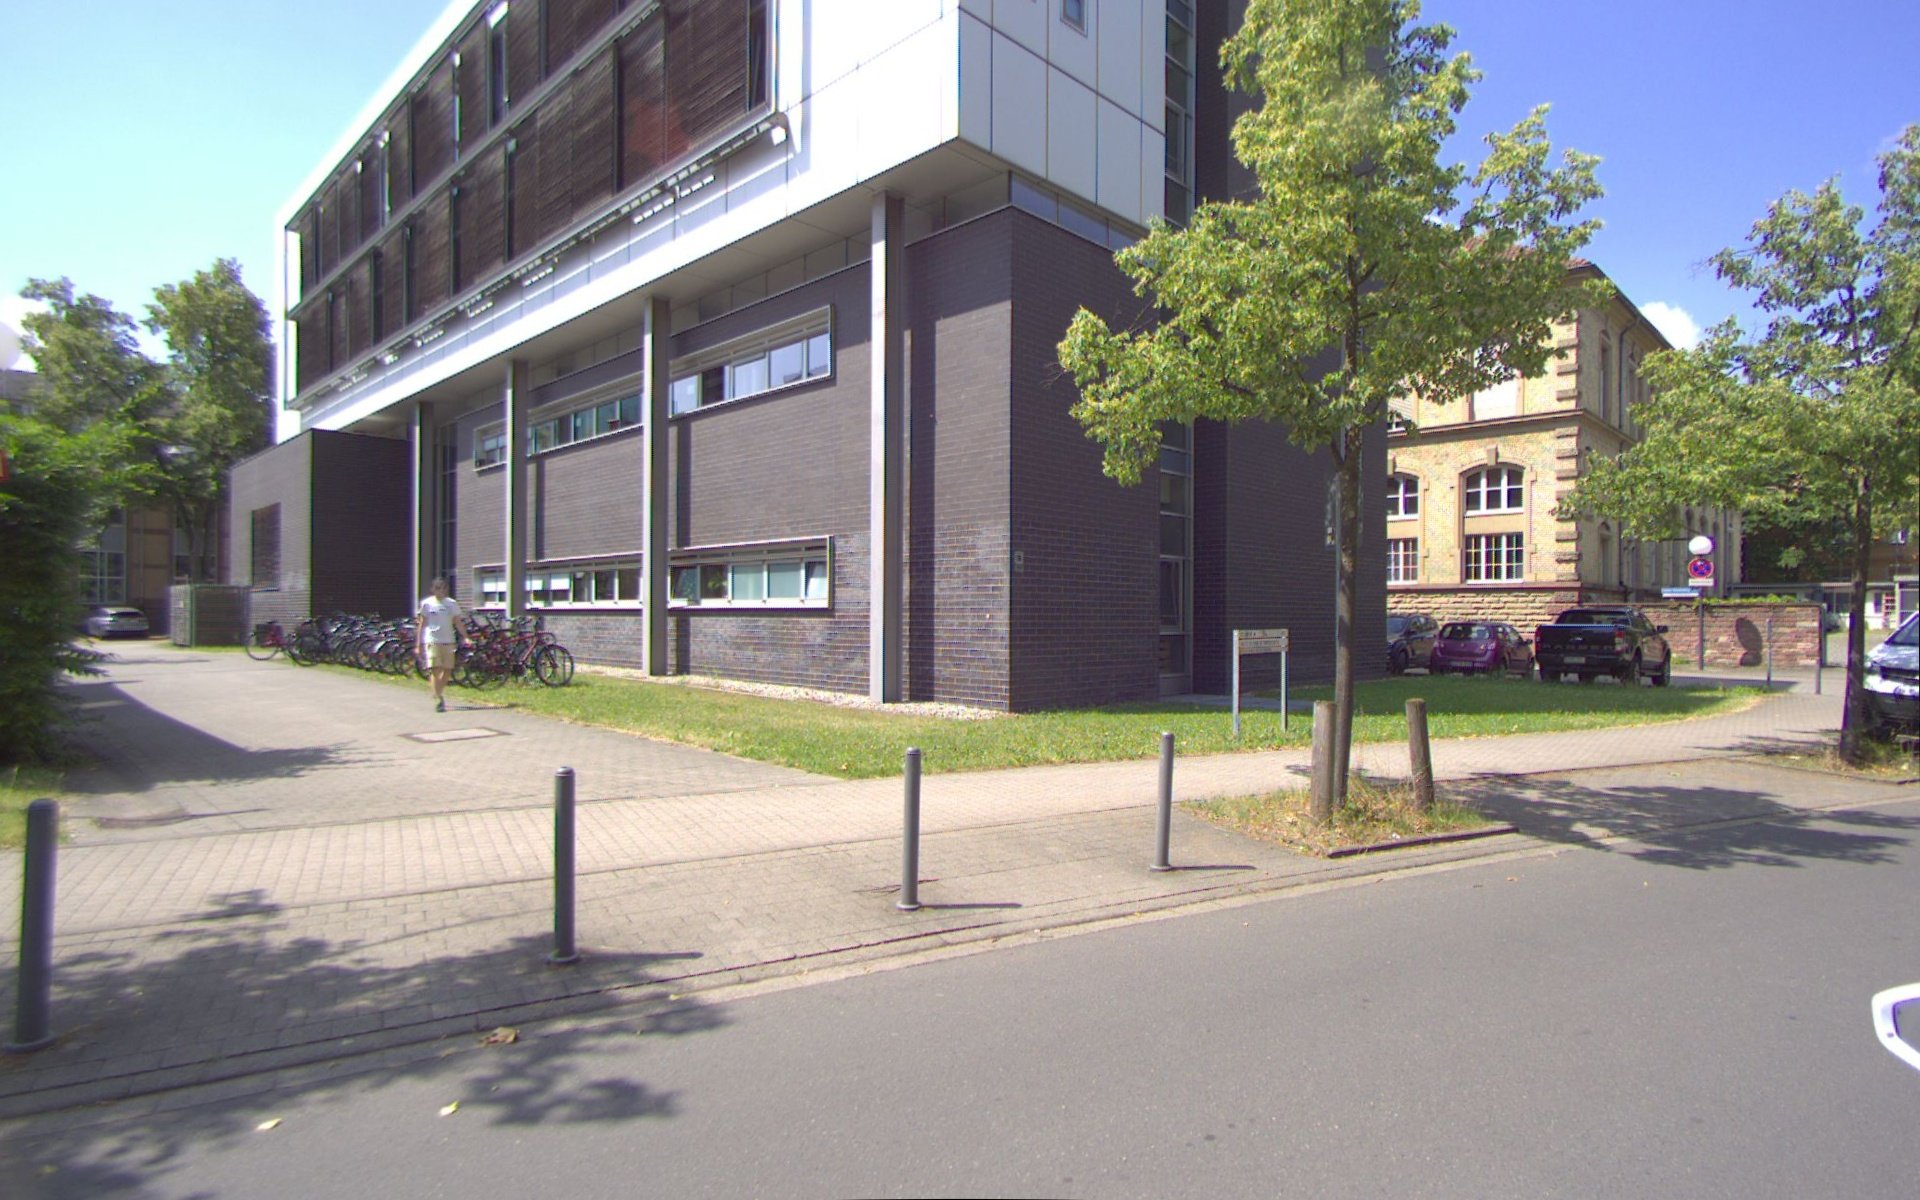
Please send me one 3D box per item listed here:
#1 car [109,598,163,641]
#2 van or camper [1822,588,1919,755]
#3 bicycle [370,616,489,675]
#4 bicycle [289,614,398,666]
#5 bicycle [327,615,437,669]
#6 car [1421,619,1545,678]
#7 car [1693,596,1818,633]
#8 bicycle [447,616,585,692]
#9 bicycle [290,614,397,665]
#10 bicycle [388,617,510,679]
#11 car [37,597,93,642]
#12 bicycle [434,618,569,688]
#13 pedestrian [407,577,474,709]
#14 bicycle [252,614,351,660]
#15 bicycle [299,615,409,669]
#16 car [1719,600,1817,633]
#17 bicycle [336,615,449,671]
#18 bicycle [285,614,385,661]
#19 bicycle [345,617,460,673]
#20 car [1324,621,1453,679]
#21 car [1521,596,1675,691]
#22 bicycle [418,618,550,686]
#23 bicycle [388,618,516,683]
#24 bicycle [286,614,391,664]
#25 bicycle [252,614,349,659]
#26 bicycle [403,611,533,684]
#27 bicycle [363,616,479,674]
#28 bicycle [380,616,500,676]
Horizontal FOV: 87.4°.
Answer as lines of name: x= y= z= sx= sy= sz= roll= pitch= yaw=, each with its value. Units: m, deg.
car: x=-39.246 y=0.896 z=47.797 sx=1.855 sy=1.798 sz=3.951 roll=1 pitch=2 yaw=-41
van or camper: x=13.627 y=0.876 z=12.839 sx=5.347 sy=1.949 sz=1.947 roll=1 pitch=0 yaw=-25
bicycle: x=-10.648 y=0.894 z=20.210 sx=0.573 sy=1.138 sz=2.039 roll=0 pitch=-1 yaw=42
bicycle: x=-14.017 y=0.899 z=22.888 sx=0.573 sy=1.138 sz=2.039 roll=0 pitch=-1 yaw=42
bicycle: x=-12.833 y=0.910 z=22.360 sx=0.573 sy=1.138 sz=2.039 roll=0 pitch=-1 yaw=42
car: x=13.118 y=1.170 z=25.124 sx=1.798 sy=1.341 sz=3.745 roll=0 pitch=-1 yaw=44
car: x=34.712 y=0.633 z=43.964 sx=4.027 sy=1.537 sz=1.754 roll=0 pitch=-1 yaw=29
bicycle: x=-7.316 y=0.866 z=16.640 sx=0.573 sy=1.177 sz=2.039 roll=0 pitch=-1 yaw=42
bicycle: x=-14.351 y=0.909 z=23.437 sx=0.573 sy=1.138 sz=2.039 roll=0 pitch=-1 yaw=42
bicycle: x=-9.816 y=0.892 z=19.353 sx=0.541 sy=1.138 sz=2.039 roll=0 pitch=-1 yaw=42
car: x=-41.011 y=0.851 z=46.087 sx=1.855 sy=1.798 sz=3.951 roll=1 pitch=2 yaw=-41
bicycle: x=-7.798 y=0.876 z=17.175 sx=0.573 sy=1.138 sz=2.039 roll=0 pitch=-1 yaw=42
pedestrian: x=-7.095 y=0.570 z=13.721 sx=0.684 sy=1.743 sz=0.610 roll=1 pitch=-1 yaw=-40
bicycle: x=-16.873 y=0.922 z=25.777 sx=0.573 sy=1.138 sz=2.039 roll=0 pitch=-1 yaw=42
bicycle: x=-13.542 y=0.919 z=22.502 sx=0.573 sy=1.138 sz=2.039 roll=0 pitch=-1 yaw=42
car: x=41.103 y=0.838 z=51.128 sx=3.810 sy=1.643 sz=1.747 roll=0 pitch=-1 yaw=42
bicycle: x=-12.184 y=0.904 z=21.628 sx=0.573 sy=1.138 sz=2.039 roll=0 pitch=-1 yaw=42
bicycle: x=-15.605 y=0.925 z=25.118 sx=0.573 sy=1.138 sz=2.039 roll=0 pitch=-1 yaw=42
bicycle: x=-11.728 y=0.925 z=21.193 sx=0.573 sy=1.138 sz=2.039 roll=0 pitch=-1 yaw=42
car: x=11.409 y=1.265 z=26.595 sx=1.798 sy=1.341 sz=4.138 roll=3 pitch=1 yaw=43
car: x=14.855 y=0.942 z=23.243 sx=2.151 sy=1.951 sz=5.157 roll=0 pitch=-1 yaw=42
bicycle: x=-8.365 y=0.882 z=17.738 sx=0.573 sy=1.138 sz=2.039 roll=0 pitch=-1 yaw=42
bicycle: x=-9.341 y=0.899 z=18.544 sx=0.573 sy=1.138 sz=2.039 roll=0 pitch=-1 yaw=42
bicycle: x=-14.786 y=0.913 z=23.947 sx=0.573 sy=1.138 sz=2.039 roll=0 pitch=-1 yaw=42
bicycle: x=-17.250 y=0.947 z=26.321 sx=0.573 sy=1.138 sz=2.039 roll=0 pitch=-1 yaw=42
bicycle: x=-8.853 y=0.833 z=18.149 sx=0.573 sy=1.259 sz=2.039 roll=0 pitch=-1 yaw=42
bicycle: x=-11.068 y=0.898 z=20.686 sx=0.573 sy=1.138 sz=2.039 roll=0 pitch=-1 yaw=42
bicycle: x=-10.210 y=0.883 z=19.789 sx=0.495 sy=1.138 sz=2.039 roll=0 pitch=-1 yaw=42
